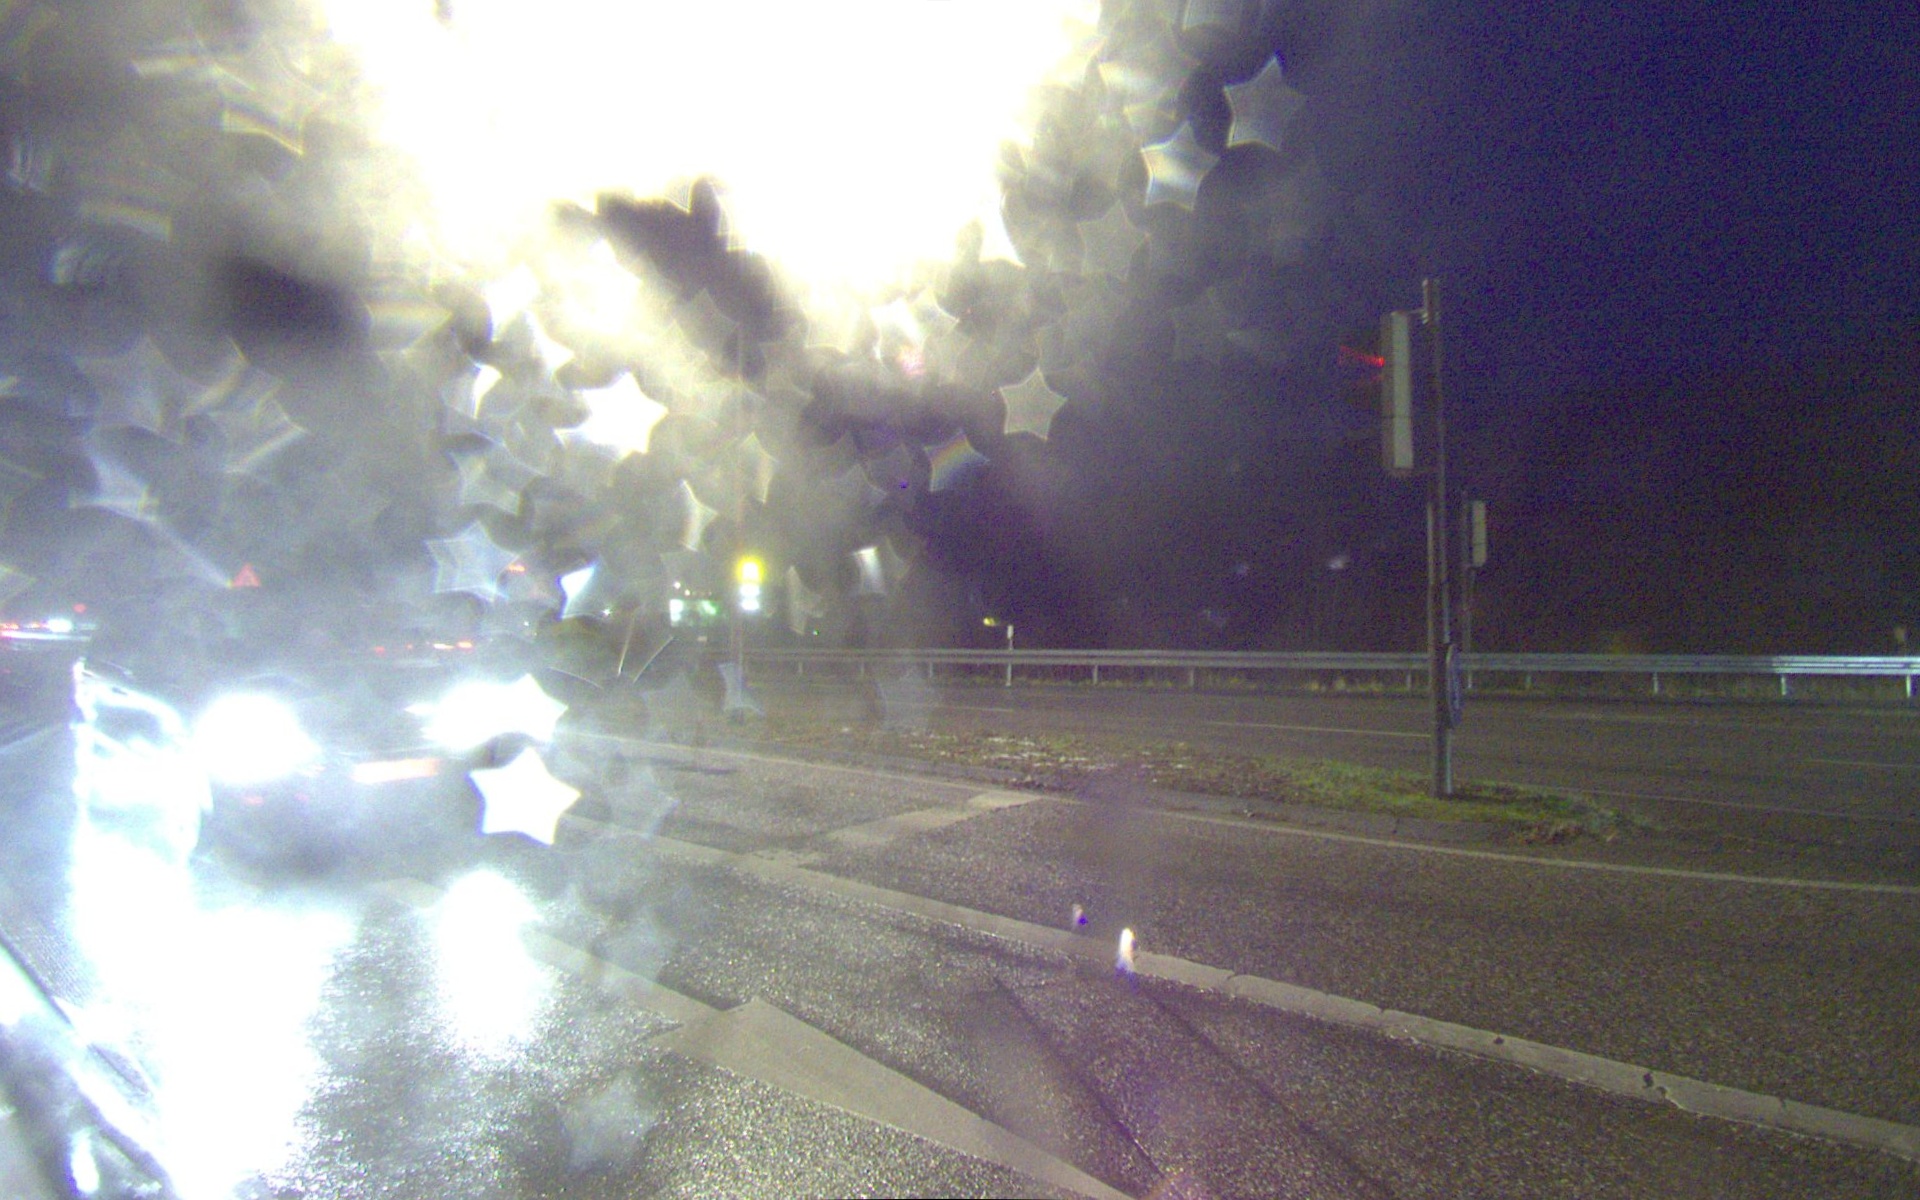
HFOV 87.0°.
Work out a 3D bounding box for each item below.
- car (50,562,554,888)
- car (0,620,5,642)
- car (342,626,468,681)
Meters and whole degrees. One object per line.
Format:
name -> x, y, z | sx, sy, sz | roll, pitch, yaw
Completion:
car -> -5.202, 0.712, 7.673 | 4.935, 1.717, 1.890 | -1, -2, 41
car -> -68.689, 2.147, 71.162 | 4.890, 1.515, 1.728 | 0, 0, 41
car -> -16.587, 1.574, 30.185 | 4.368, 1.510, 1.638 | -1, -4, 38
